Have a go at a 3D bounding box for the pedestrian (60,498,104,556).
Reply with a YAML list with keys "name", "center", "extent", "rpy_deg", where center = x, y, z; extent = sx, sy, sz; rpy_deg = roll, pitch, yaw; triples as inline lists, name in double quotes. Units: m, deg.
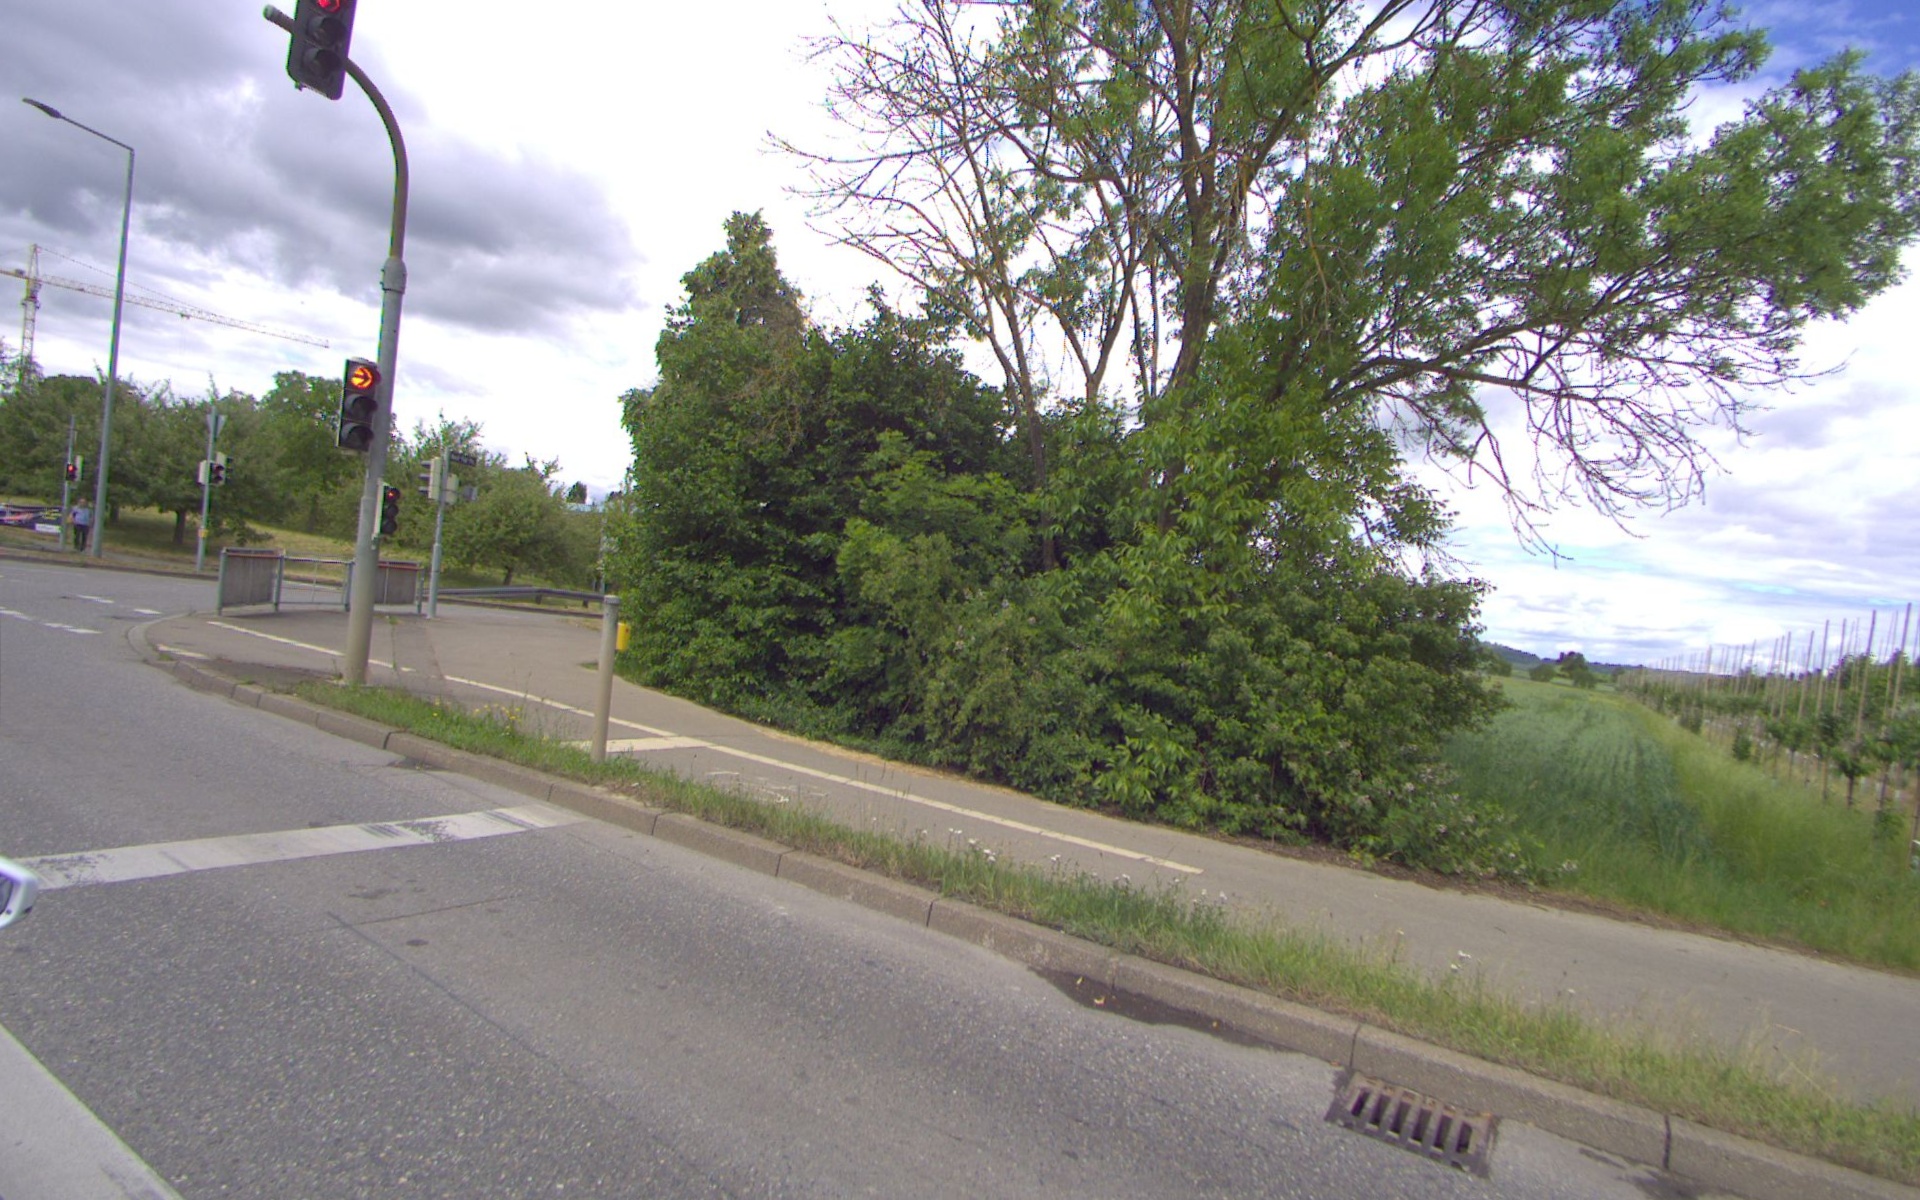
- name: "pedestrian"
  center: [-29.660, -2.456, 33.979]
  extent: [1.027, 1.813, 0.719]
  rpy_deg: [6, -1, 35]
